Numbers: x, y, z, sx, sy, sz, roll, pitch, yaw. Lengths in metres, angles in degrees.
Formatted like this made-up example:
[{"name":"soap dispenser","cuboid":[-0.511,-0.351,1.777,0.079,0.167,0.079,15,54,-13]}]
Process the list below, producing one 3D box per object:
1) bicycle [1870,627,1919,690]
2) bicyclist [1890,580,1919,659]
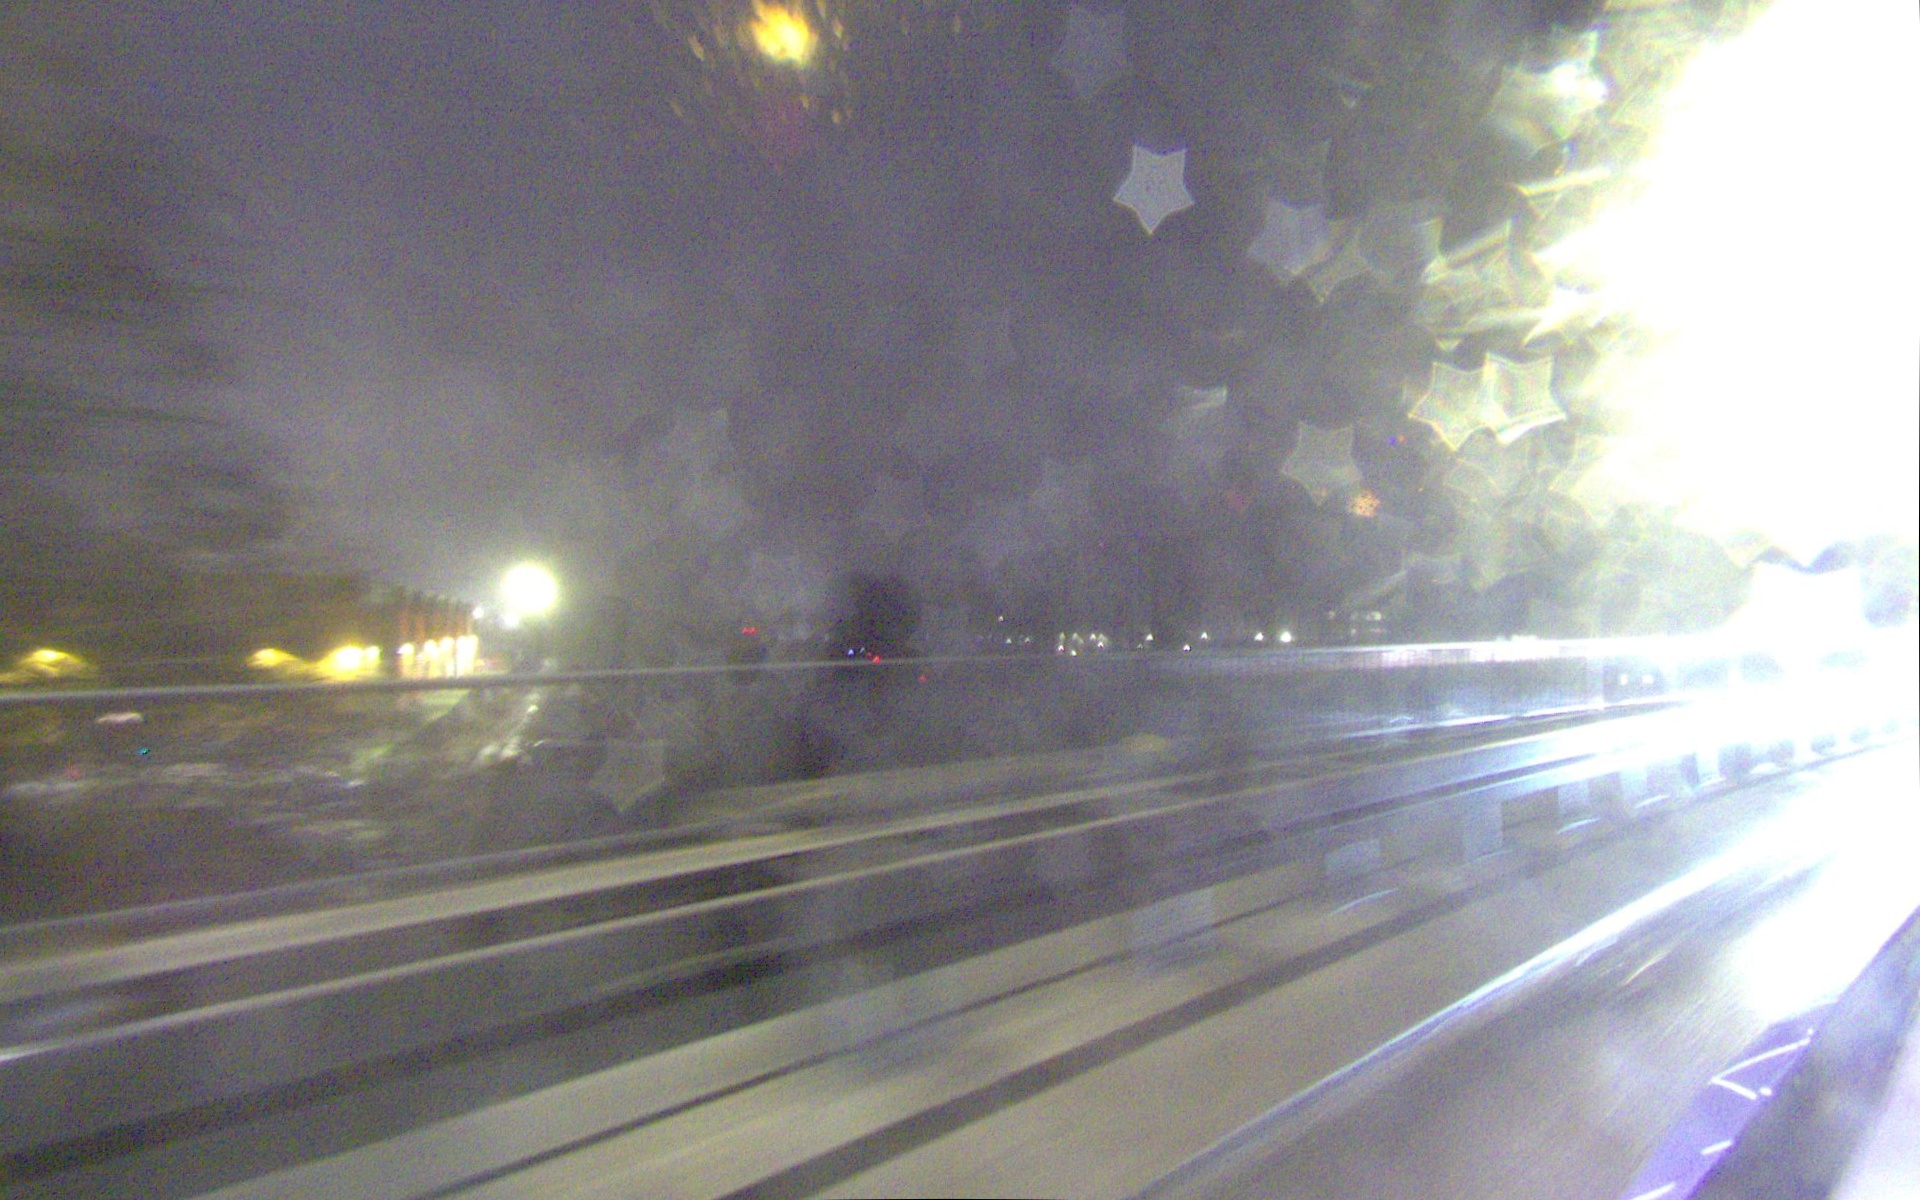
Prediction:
[{"name":"bicycle","cuboid":[16.956,1.018,17.939,2.127,1.047,0.486,0,0,-27]},{"name":"bicyclist","cuboid":[16.971,0.344,17.952,0.749,1.366,0.454,1,-1,-28]}]
